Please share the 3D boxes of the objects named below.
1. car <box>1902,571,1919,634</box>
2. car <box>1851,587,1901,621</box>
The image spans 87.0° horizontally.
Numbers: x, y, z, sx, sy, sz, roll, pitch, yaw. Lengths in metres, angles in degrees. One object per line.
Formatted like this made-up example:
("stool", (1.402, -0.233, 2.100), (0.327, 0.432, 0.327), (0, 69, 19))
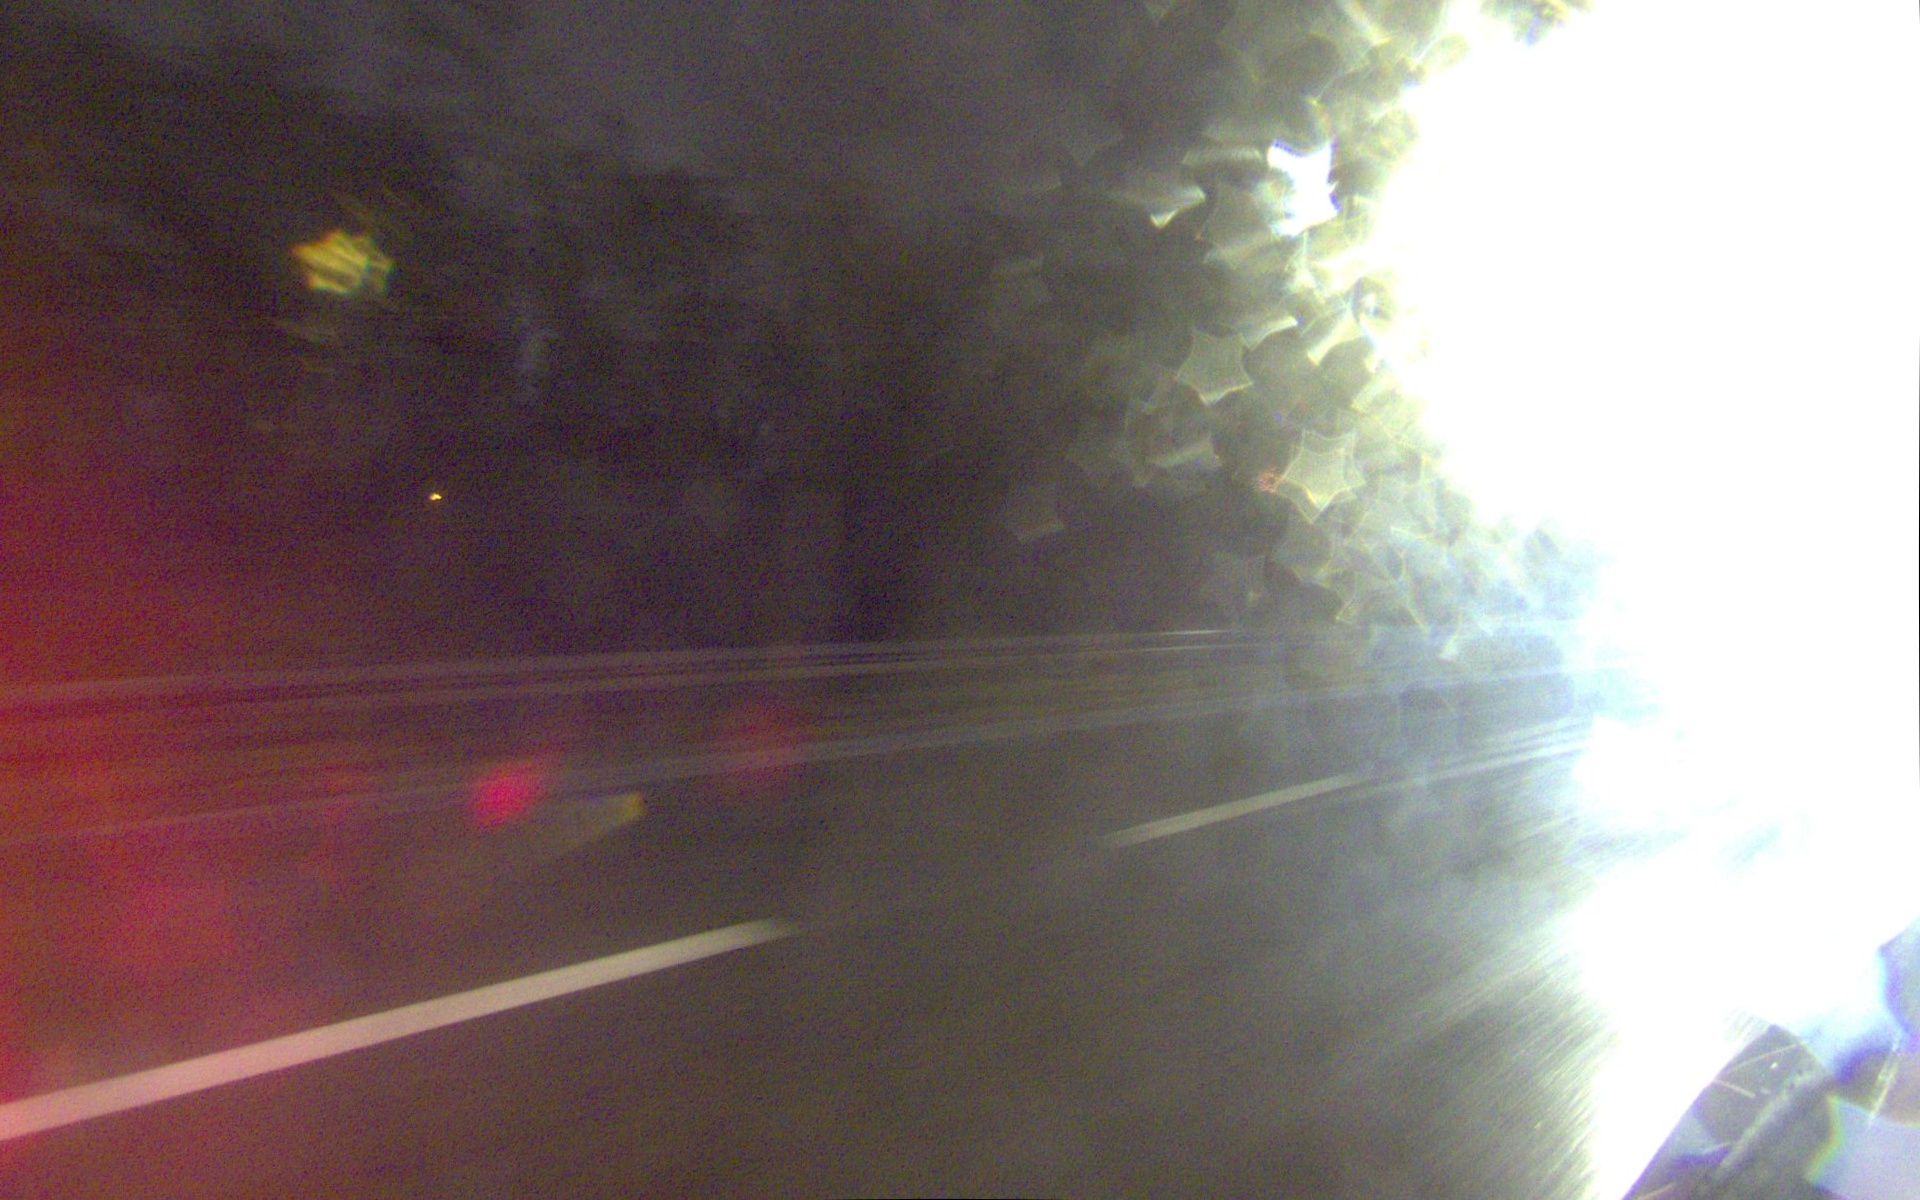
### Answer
("car", (30.802, 0.109, 31.493), (3.934, 1.895, 1.934), (0, 2, -44))
("car", (59.649, 0.251, 65.976), (1.991, 1.957, 3.945), (6, 3, 38))
